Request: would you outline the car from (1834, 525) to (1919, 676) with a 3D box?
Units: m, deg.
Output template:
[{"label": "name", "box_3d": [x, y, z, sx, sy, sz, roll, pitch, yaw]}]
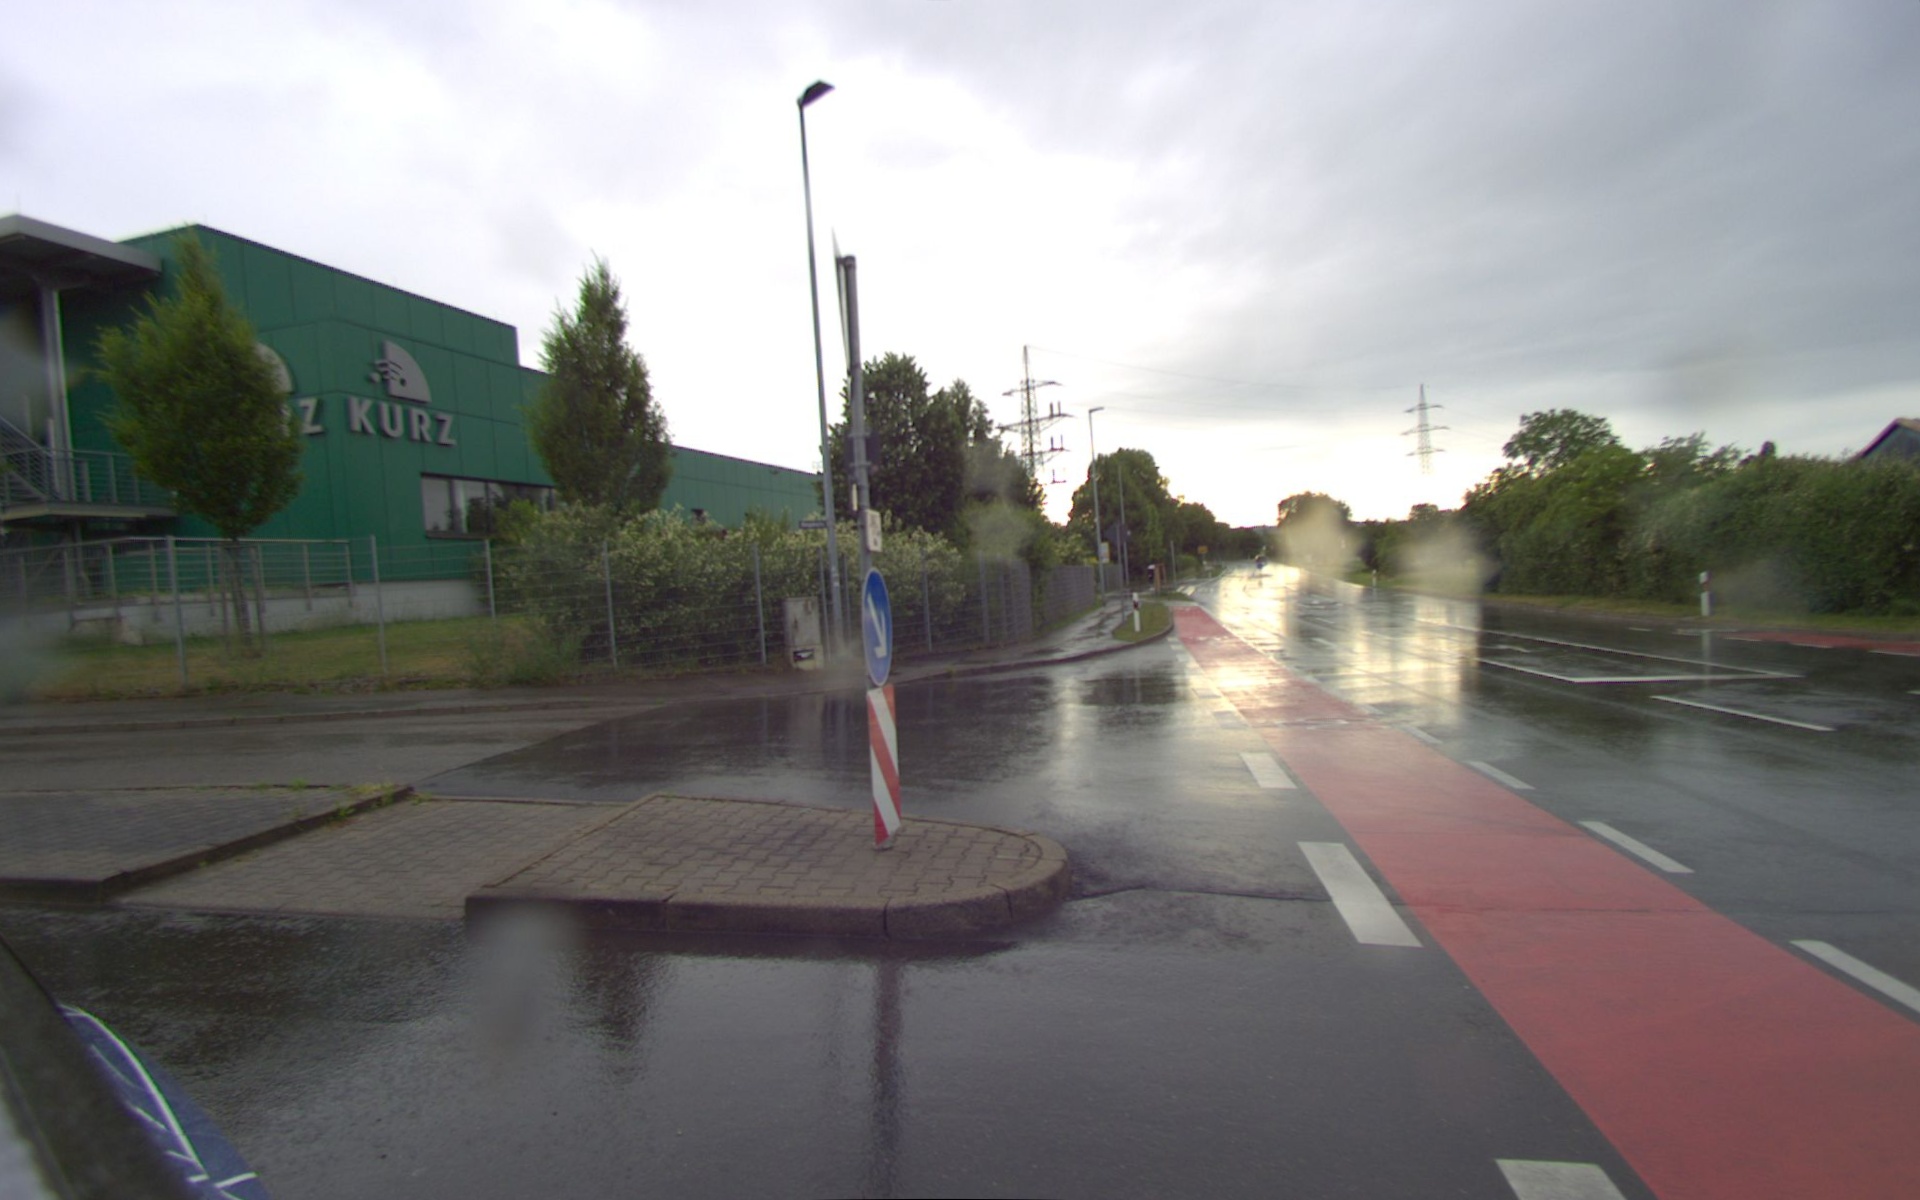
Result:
[{"label": "car", "box_3d": [12.425, -0.007, 10.081, 2.336, 1.829, 6.857, -2, 0, 10]}]
